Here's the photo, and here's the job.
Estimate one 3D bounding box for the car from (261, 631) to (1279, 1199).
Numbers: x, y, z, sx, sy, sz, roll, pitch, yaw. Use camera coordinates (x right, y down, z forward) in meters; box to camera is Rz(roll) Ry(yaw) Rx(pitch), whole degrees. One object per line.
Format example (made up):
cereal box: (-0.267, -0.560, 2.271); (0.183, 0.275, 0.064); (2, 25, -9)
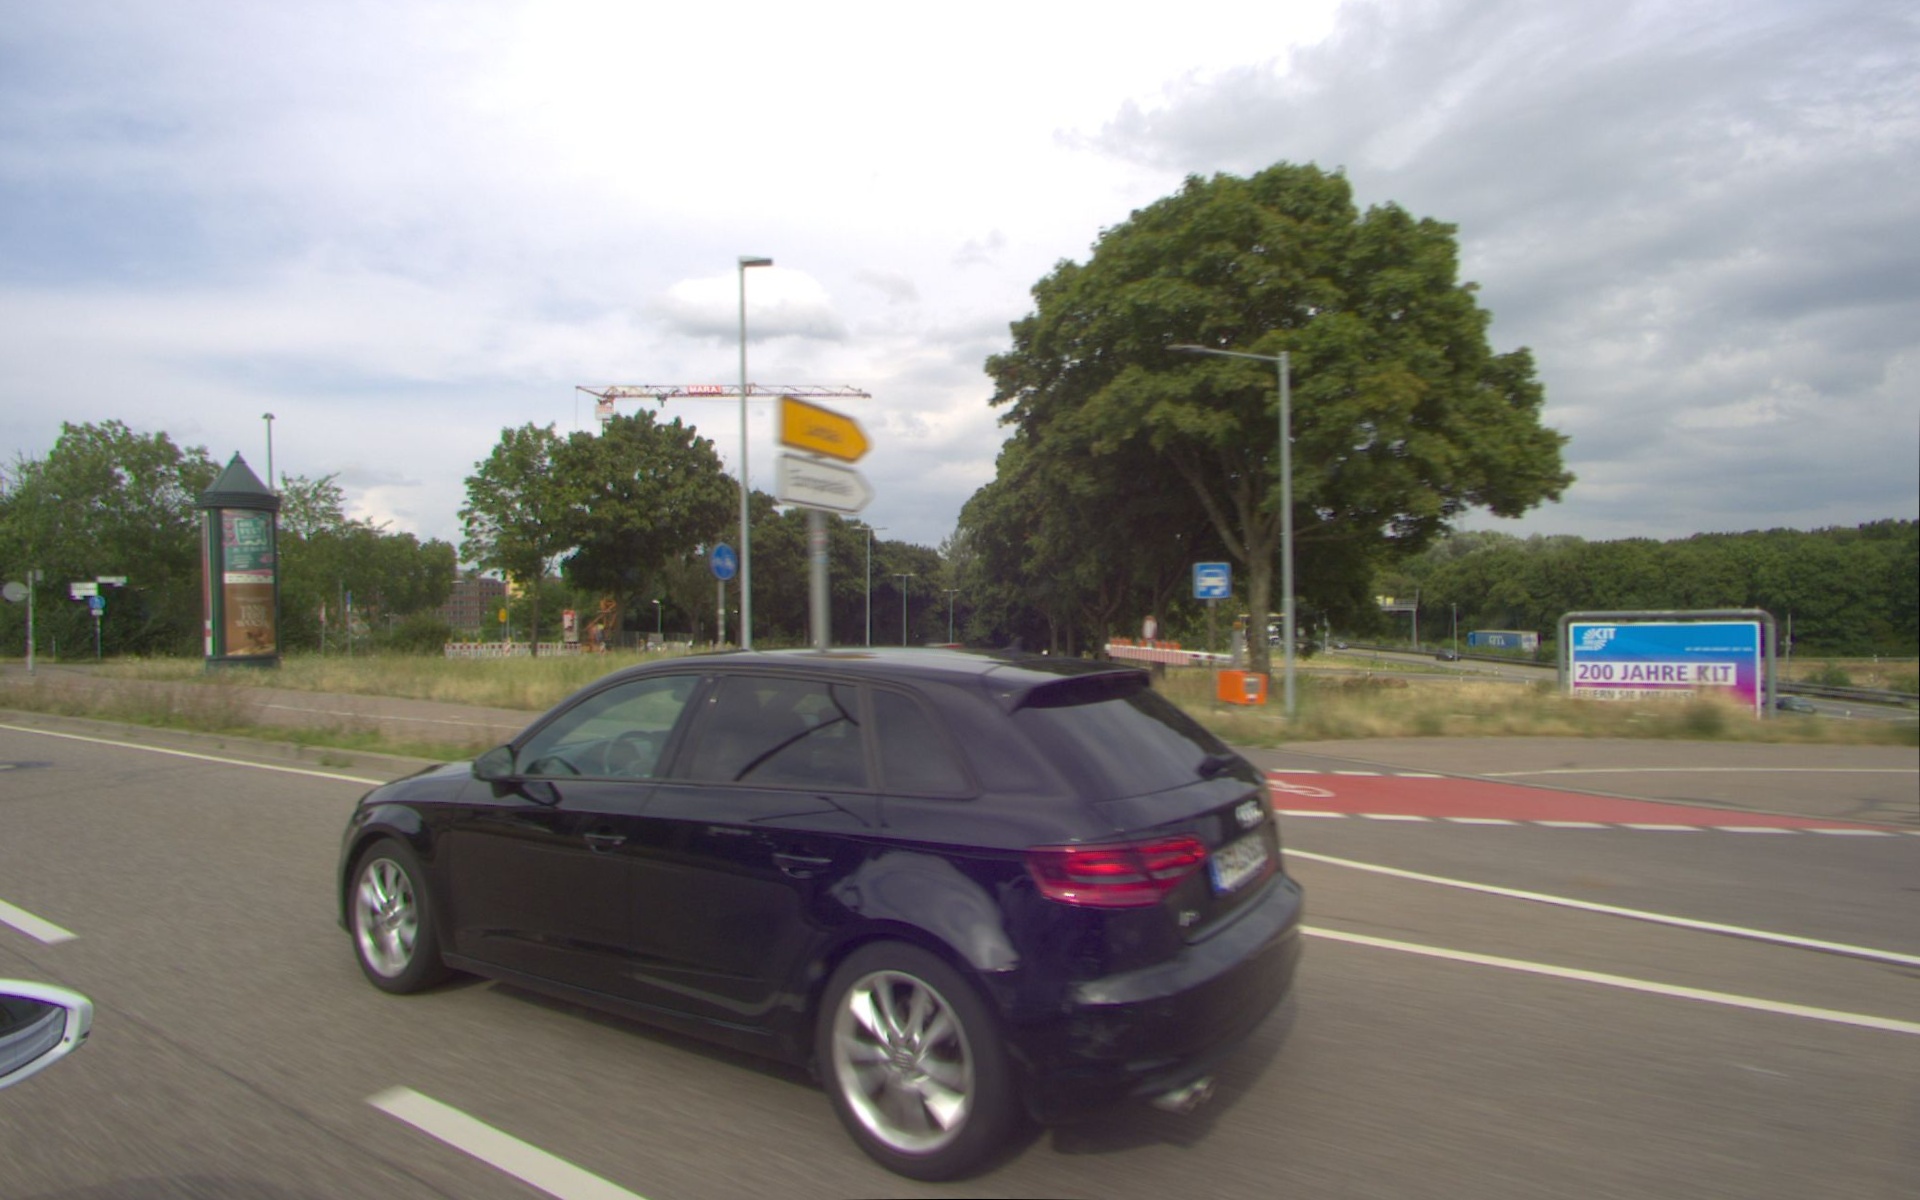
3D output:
car: (-0.955, 0.857, 4.132); (4.055, 1.413, 1.728); (-1, -1, 32)
